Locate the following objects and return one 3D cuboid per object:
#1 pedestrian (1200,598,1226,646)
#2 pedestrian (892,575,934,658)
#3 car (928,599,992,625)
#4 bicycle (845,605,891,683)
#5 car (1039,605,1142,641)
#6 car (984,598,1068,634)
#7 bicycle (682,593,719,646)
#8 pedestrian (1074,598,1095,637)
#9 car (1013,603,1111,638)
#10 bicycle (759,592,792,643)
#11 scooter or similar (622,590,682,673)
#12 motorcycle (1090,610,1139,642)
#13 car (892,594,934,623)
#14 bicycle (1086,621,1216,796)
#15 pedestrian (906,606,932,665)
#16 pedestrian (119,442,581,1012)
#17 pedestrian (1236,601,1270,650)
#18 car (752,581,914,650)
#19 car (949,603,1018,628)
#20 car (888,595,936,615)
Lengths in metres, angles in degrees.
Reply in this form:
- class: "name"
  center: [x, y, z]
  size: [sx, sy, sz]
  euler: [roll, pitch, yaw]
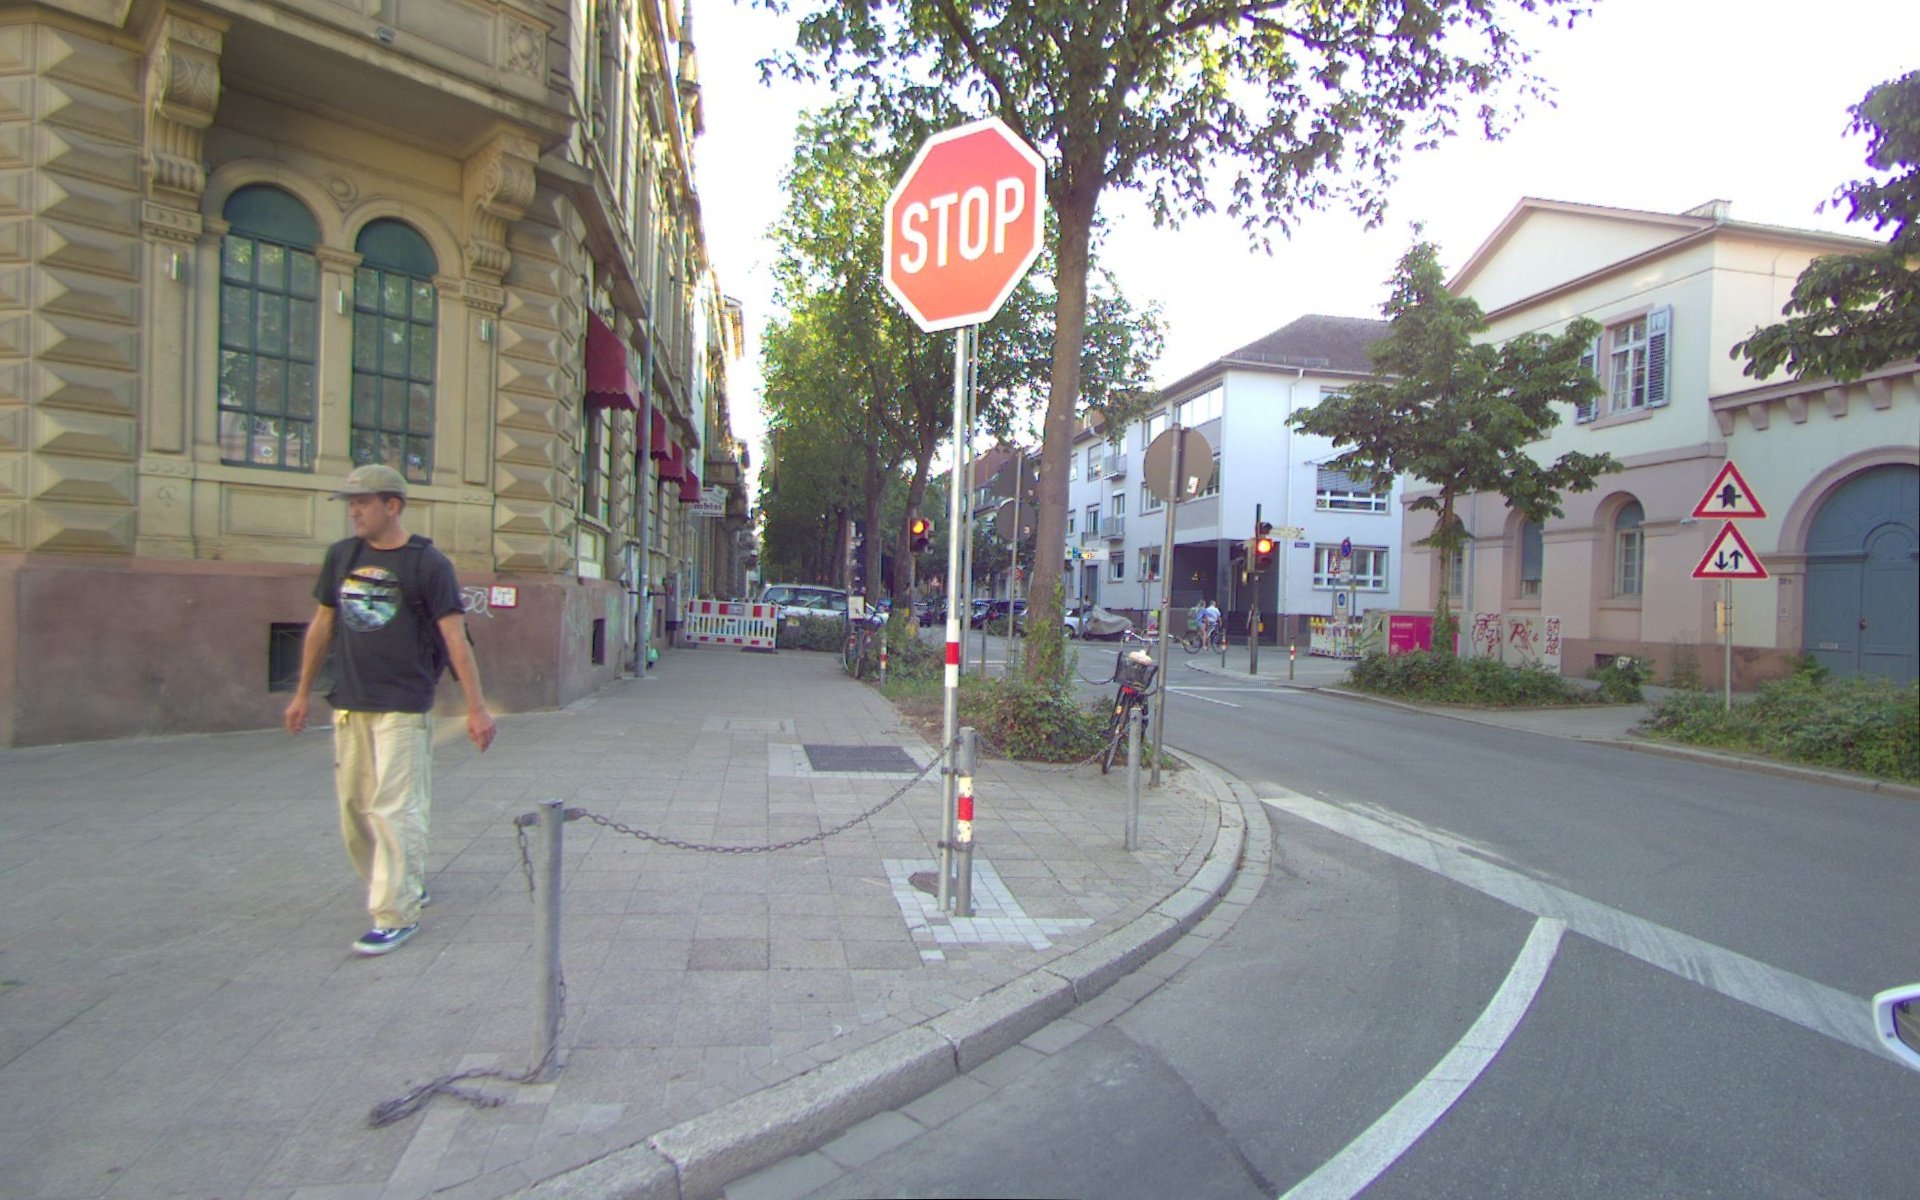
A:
- class: "pedestrian"
  center: [9.490, 0.823, 37.675]
  size: [0.693, 1.775, 0.698]
  euler: [2, 1, -7]
- class: "pedestrian"
  center: [-1.086, 0.377, 22.861]
  size: [0.874, 1.840, 0.793]
  euler: [1, 1, -6]
- class: "car"
  center: [-0.001, 0.799, 66.927]
  size: [3.956, 1.550, 1.703]
  euler: [2, 0, -11]
- class: "bicycle"
  center: [-1.574, 0.706, 16.928]
  size: [0.503, 1.168, 2.097]
  euler: [3, 0, -11]
- class: "car"
  center: [5.464, 0.954, 42.150]
  size: [3.956, 1.360, 1.703]
  euler: [1, 0, -11]
- class: "car"
  center: [3.320, 0.812, 50.864]
  size: [3.956, 1.713, 1.703]
  euler: [1, 0, -11]
- class: "bicycle"
  center: [-6.371, 0.454, 24.766]
  size: [0.627, 1.218, 2.559]
  euler: [1, 0, -9]
- class: "pedestrian"
  center: [6.249, 0.867, 50.425]
  size: [0.756, 1.866, 0.942]
  euler: [2, 0, -10]
- class: "car"
  center: [4.507, 0.899, 44.606]
  size: [3.956, 1.461, 1.703]
  euler: [1, 0, -11]
- class: "bicycle"
  center: [-4.682, 0.412, 25.613]
  size: [0.724, 1.202, 2.629]
  euler: [3, 0, -10]
- class: "scooter or similar"
  center: [-4.676, 0.468, 15.315]
  size: [0.431, 1.183, 1.287]
  euler: [3, 0, 1]
- class: "motorcycle"
  center: [6.014, 1.002, 39.049]
  size: [1.770, 1.215, 0.613]
  euler: [1, 0, -2]
- class: "car"
  center: [-2.851, 0.462, 60.266]
  size: [1.799, 1.582, 4.018]
  euler: [3, 0, -12]
- class: "bicycle"
  center: [1.638, 0.867, 9.074]
  size: [0.829, 1.284, 2.573]
  euler: [1, 0, 4]
- class: "pedestrian"
  center: [-0.972, 0.825, 23.602]
  size: [0.531, 1.353, 0.506]
  euler: [2, 1, -6]
- class: "pedestrian"
  center: [-2.206, 0.382, 3.829]
  size: [0.833, 1.762, 1.267]
  euler: [3, 2, 10]
- class: "pedestrian"
  center: [10.829, 0.938, 37.134]
  size: [0.916, 1.775, 0.770]
  euler: [2, 0, -6]
- class: "car"
  center: [-3.729, 0.460, 29.334]
  size: [4.485, 1.859, 1.828]
  euler: [1, 0, -14]
- class: "car"
  center: [1.422, 0.930, 61.958]
  size: [3.956, 1.428, 1.703]
  euler: [1, 0, -11]
- class: "car"
  center: [-4.253, 0.465, 88.744]
  size: [3.956, 1.623, 1.703]
  euler: [2, 0, -11]
